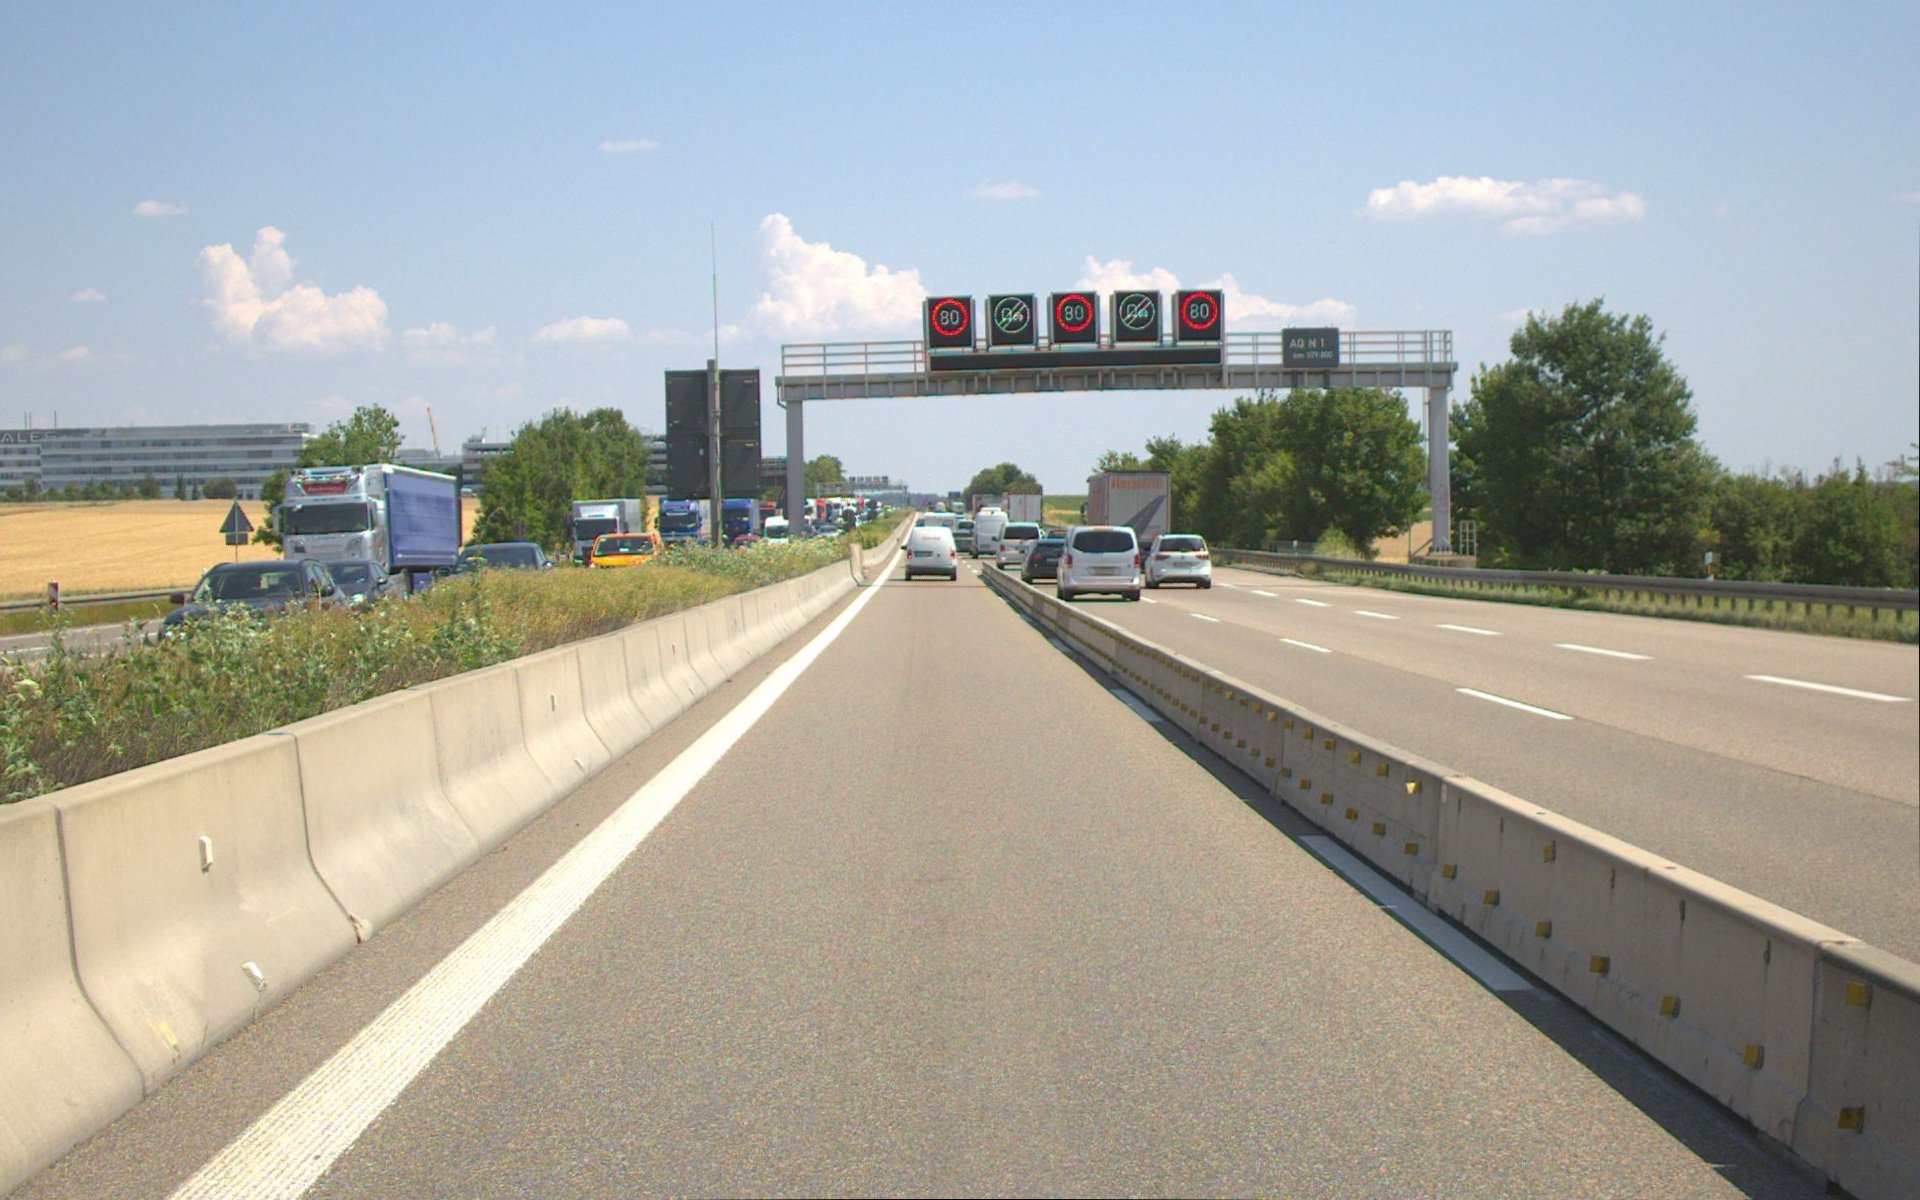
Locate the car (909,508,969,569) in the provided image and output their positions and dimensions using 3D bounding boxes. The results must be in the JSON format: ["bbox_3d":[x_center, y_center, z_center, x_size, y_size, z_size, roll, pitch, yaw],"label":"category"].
[{"bbox_3d":[-0.713,-2.075,117.241,1.993,2.007,4.000,0,0,-1],"label":"car"}]

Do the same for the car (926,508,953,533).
[{"bbox_3d":[-1.497,-5.837,252.763,1.993,1.829,4.000,0,1,0],"label":"car"}]

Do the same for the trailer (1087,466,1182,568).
[{"bbox_3d":[6.986,-3.278,138.977,3.277,3.953,9.113,0,0,-1],"label":"trailer"}]

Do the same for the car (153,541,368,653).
[{"bbox_3d":[-8.766,-0.043,43.446,1.779,1.330,4.930,0,0,-1],"label":"car"}]

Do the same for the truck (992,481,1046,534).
[{"bbox_3d":[4.514,-7.082,264.246,3.815,3.891,9.581,-1,1,-1],"label":"truck"}]

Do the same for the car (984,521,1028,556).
[{"bbox_3d":[1.943,-2.604,145.756,1.773,1.442,4.000,0,0,-1],"label":"car"}]

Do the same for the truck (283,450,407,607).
[{"bbox_3d":[-16.547,-1.934,92.723,2.411,4.072,4.660,-1,1,0],"label":"truck"}]

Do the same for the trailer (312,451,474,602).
[{"bbox_3d":[-16.546,-2.163,101.387,2.386,4.072,14.098,-1,1,0],"label":"trailer"}]

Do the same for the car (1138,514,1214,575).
[{"bbox_3d":[6.482,-1.649,103.692,1.993,1.788,4.000,0,0,-1],"label":"car"}]

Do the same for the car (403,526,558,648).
[{"bbox_3d":[-8.285,-0.270,59.799,1.993,2.007,4.685,-1,1,0],"label":"car"}]

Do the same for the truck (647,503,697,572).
[{"bbox_3d":[-18.252,-3.981,218.229,2.592,4.224,4.855,-3,1,-1],"label":"truck"}]

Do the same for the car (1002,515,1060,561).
[{"bbox_3d":[2.291,-1.998,111.683,1.773,1.442,4.000,0,0,-1],"label":"car"}]

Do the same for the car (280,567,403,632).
[{"bbox_3d":[-12.474,-0.014,69.538,1.747,1.262,4.434,0,0,-1],"label":"car"}]

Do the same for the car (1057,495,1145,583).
[{"bbox_3d":[3.494,-1.502,85.835,1.993,2.112,4.000,0,0,-1],"label":"car"}]

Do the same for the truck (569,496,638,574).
[{"bbox_3d":[-17.023,-3.118,164.493,2.698,3.575,4.000,-2,1,1],"label":"truck"}]

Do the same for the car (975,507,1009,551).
[{"bbox_3d":[1.739,-3.893,189.289,1.773,2.384,4.000,0,0,-1],"label":"car"}]

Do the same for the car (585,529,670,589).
[{"bbox_3d":[-9.035,-1.106,93.667,1.894,1.573,4.937,0,0,-1],"label":"car"}]
